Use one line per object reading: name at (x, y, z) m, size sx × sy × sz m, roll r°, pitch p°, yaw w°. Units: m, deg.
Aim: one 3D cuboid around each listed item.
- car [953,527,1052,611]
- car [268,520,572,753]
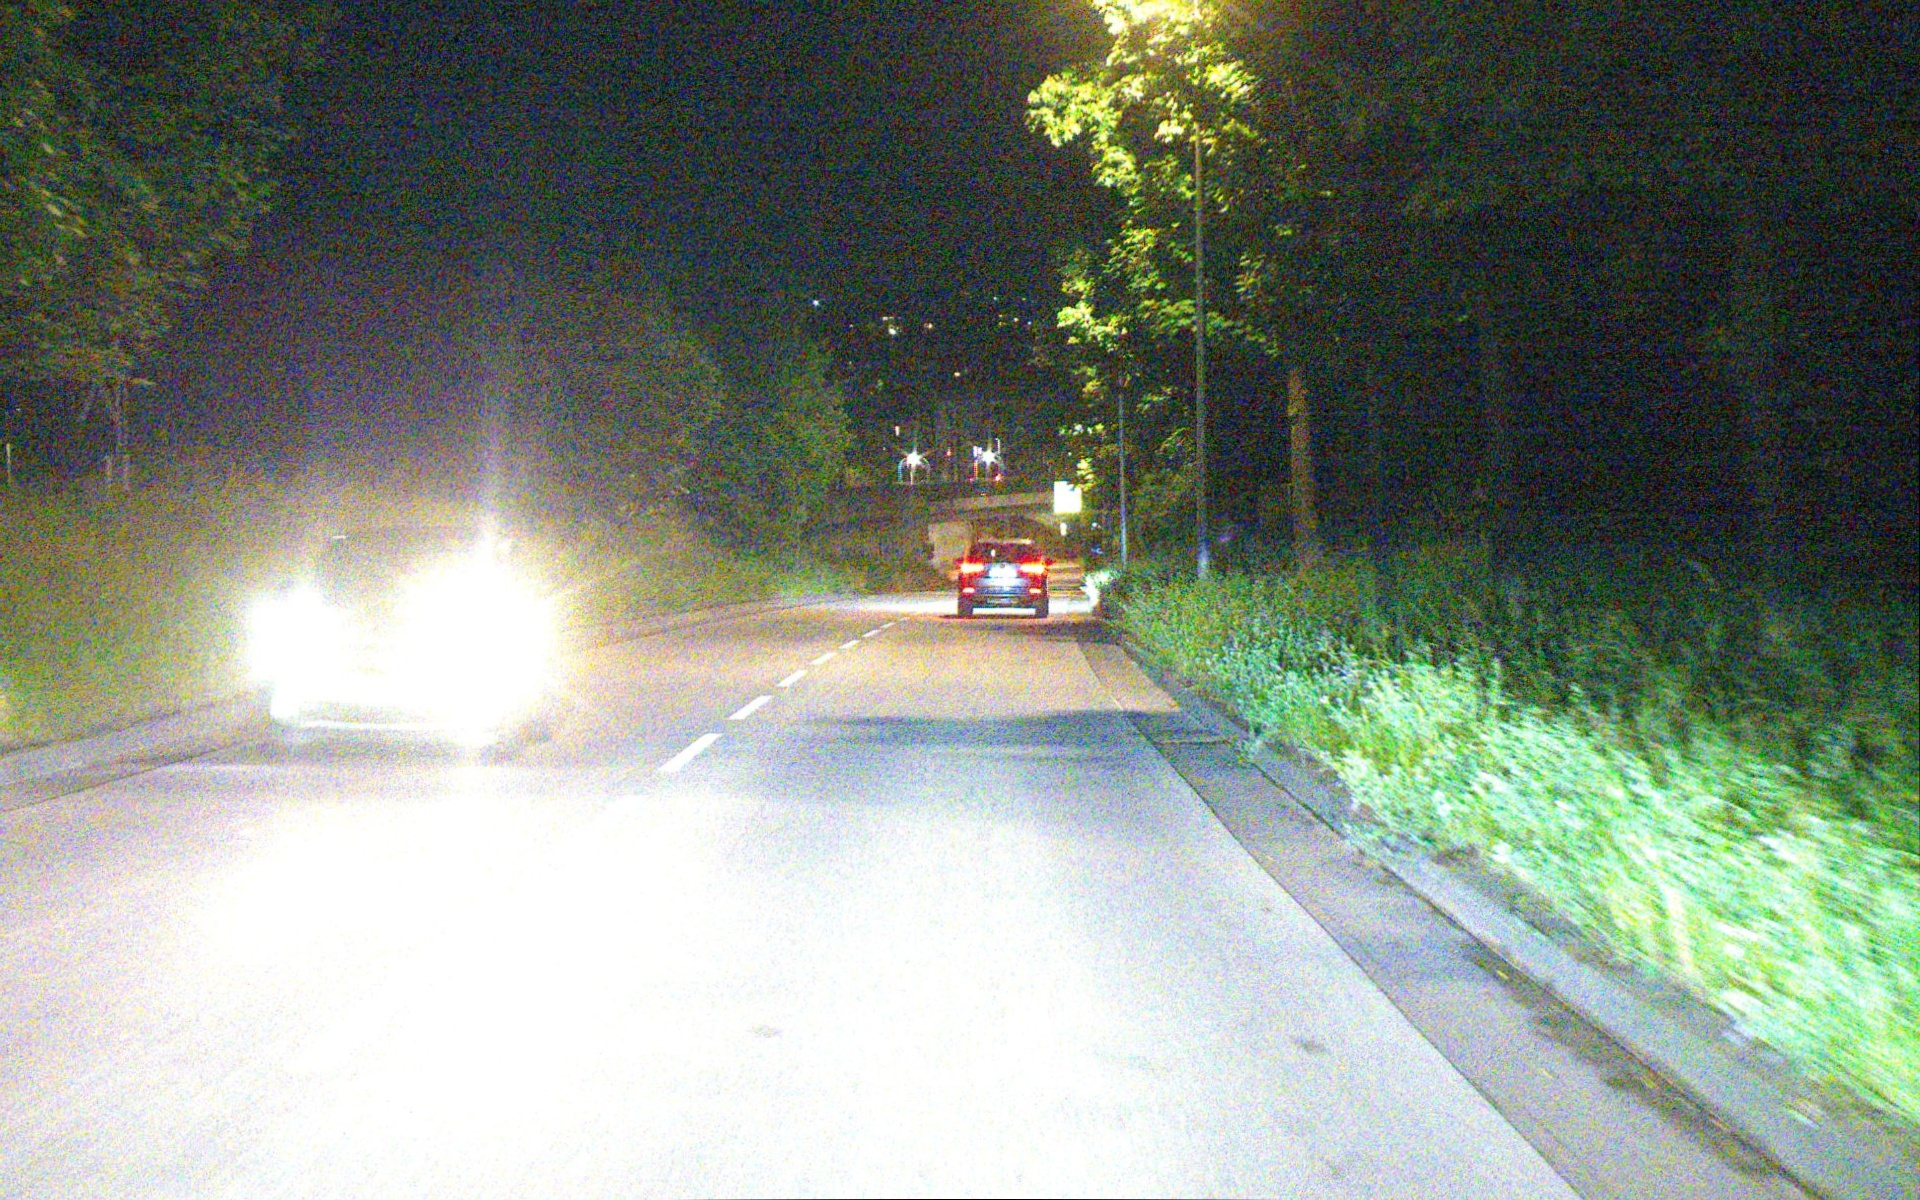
car at (0.833, -0.646, 69.563) m, size 1.763 × 1.636 × 3.723 m, roll 0°, pitch 1°, yaw -3°
car at (-3.681, 0.198, 23.938) m, size 1.647 × 1.486 × 3.558 m, roll 1°, pitch 1°, yaw -2°
